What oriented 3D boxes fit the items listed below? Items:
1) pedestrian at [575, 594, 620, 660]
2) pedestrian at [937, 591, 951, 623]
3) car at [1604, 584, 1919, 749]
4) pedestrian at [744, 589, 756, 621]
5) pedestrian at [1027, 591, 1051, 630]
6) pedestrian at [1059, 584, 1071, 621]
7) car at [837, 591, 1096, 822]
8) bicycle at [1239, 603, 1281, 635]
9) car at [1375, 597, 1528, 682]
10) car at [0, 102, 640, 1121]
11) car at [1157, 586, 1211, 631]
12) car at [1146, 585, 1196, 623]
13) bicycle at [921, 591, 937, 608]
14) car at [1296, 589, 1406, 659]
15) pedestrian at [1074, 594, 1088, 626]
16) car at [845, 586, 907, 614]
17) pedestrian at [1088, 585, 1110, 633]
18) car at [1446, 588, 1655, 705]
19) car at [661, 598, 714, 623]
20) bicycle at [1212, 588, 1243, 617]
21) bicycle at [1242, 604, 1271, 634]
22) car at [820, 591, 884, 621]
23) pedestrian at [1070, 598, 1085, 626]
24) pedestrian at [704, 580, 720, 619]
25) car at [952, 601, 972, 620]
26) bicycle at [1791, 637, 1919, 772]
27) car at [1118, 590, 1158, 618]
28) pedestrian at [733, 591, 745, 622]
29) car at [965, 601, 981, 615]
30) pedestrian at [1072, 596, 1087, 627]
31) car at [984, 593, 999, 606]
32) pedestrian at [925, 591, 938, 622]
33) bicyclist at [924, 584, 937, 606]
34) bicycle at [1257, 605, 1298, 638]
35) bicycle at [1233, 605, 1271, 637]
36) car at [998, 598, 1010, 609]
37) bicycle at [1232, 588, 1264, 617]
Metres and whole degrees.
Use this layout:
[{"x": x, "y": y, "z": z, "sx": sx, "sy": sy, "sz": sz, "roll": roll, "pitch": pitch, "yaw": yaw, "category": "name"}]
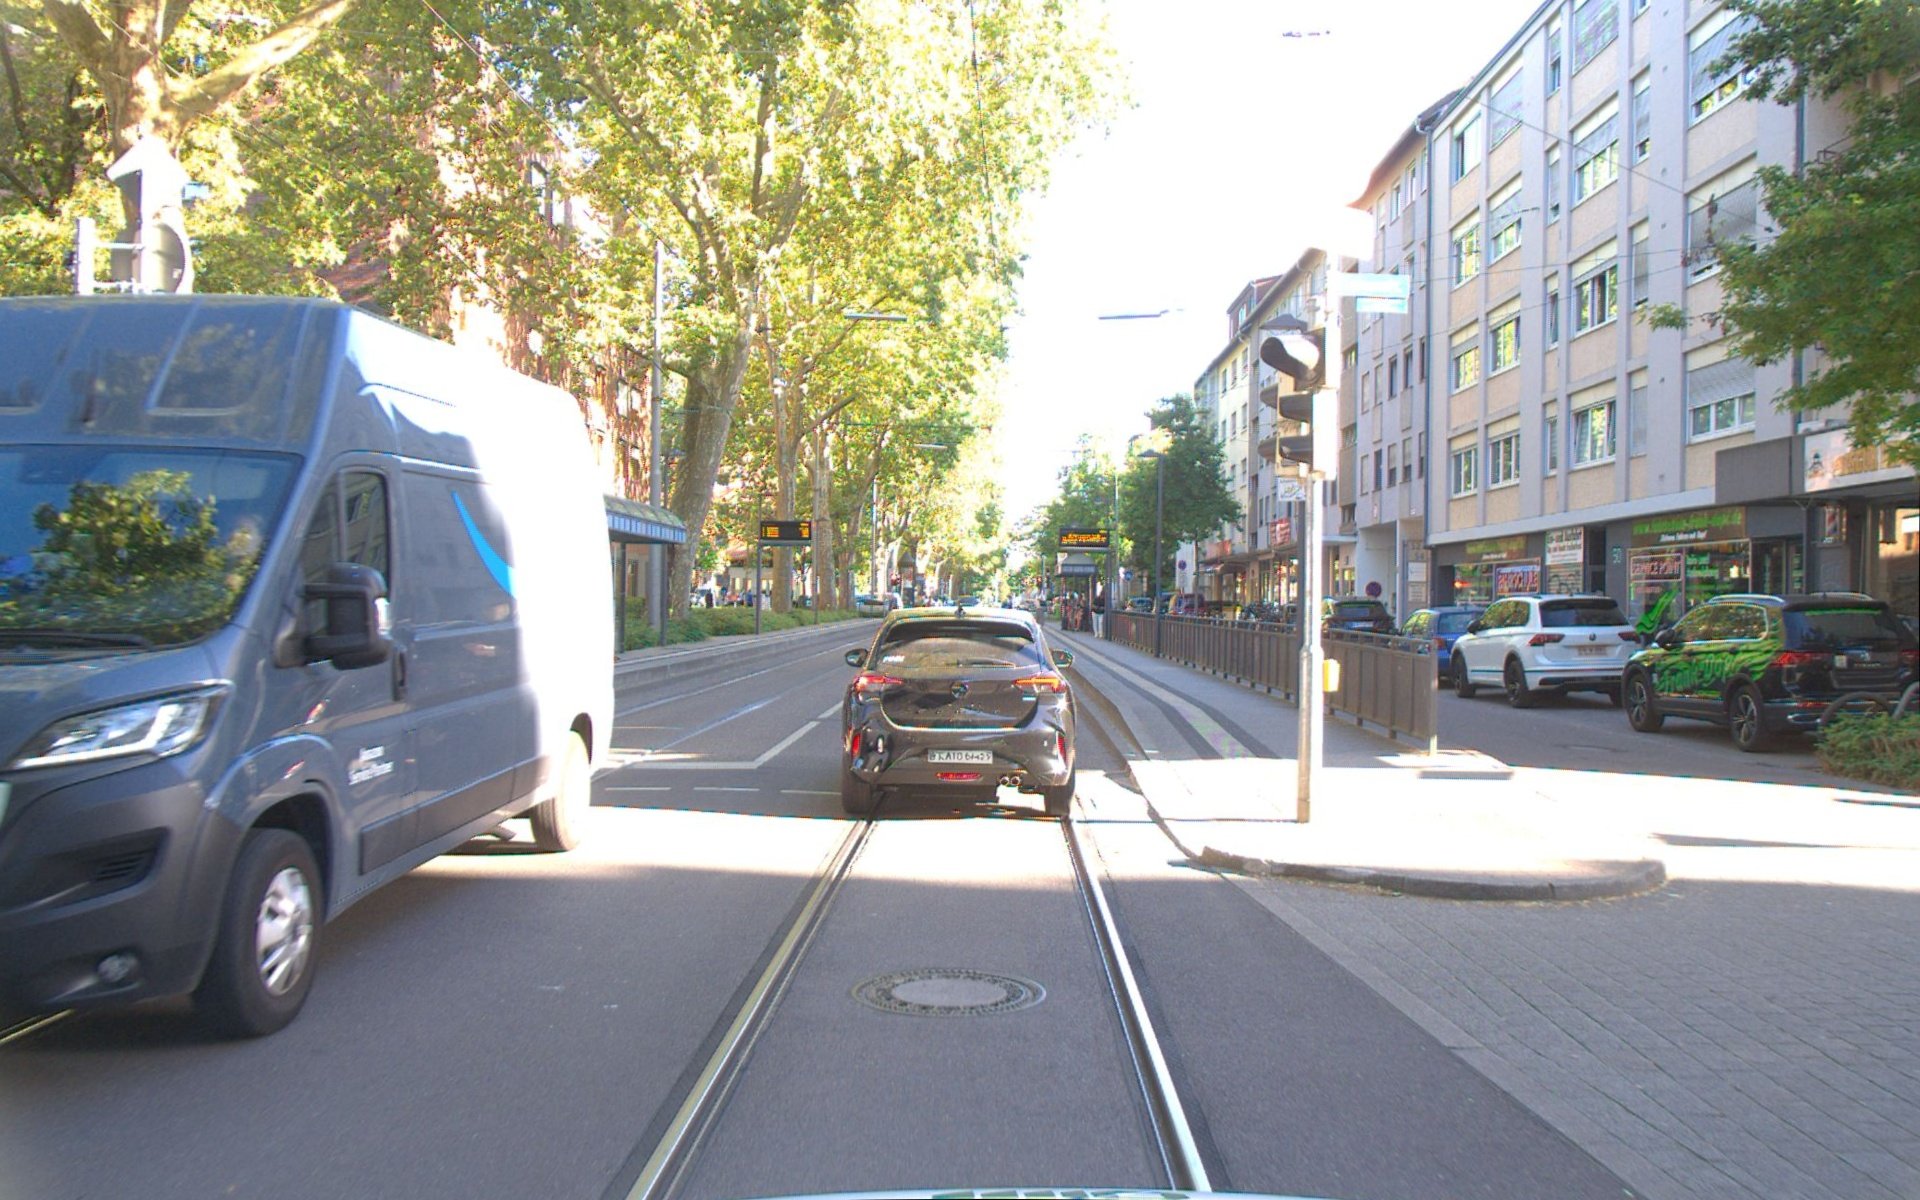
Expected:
[{"x": -6.571, "y": 0.488, "z": 30.013, "sx": 0.691, "sy": 1.189, "sz": 0.659, "roll": 0, "pitch": -1, "yaw": -2, "category": "pedestrian"}, {"x": -1.066, "y": 0.472, "z": 109.923, "sx": 0.661, "sy": 2.048, "sz": 0.702, "roll": 3, "pitch": 0, "yaw": 13, "category": "pedestrian"}, {"x": 9.167, "y": 0.685, "z": 18.904, "sx": 1.952, "sy": 1.644, "sz": 4.445, "roll": -1, "pitch": 0, "yaw": 1, "category": "car"}, {"x": -13.613, "y": 0.324, "z": 107.422, "sx": 0.658, "sy": 1.984, "sz": 0.498, "roll": 2, "pitch": 0, "yaw": -2, "category": "pedestrian"}, {"x": 3.581, "y": 0.488, "z": 74.724, "sx": 0.737, "sy": 1.739, "sz": 0.760, "roll": 1, "pitch": -1, "yaw": 36, "category": "pedestrian"}, {"x": 5.002, "y": 0.141, "z": 78.991, "sx": 0.520, "sy": 1.739, "sz": 0.752, "roll": 1, "pitch": -1, "yaw": 3, "category": "pedestrian"}, {"x": 0.018, "y": 0.722, "z": 12.865, "sx": 1.724, "sy": 1.534, "sz": 3.682, "roll": 0, "pitch": 0, "yaw": -1, "category": "car"}, {"x": 11.414, "y": 0.712, "z": 63.109, "sx": 0.600, "sy": 1.156, "sz": 2.915, "roll": 2, "pitch": 0, "yaw": -10, "category": "bicycle"}, {"x": 9.264, "y": 0.714, "z": 31.490, "sx": 1.708, "sy": 1.465, "sz": 4.247, "roll": 2, "pitch": 0, "yaw": 1, "category": "car"}, {"x": -3.152, "y": 0.050, "z": 7.589, "sx": 2.070, "sy": 2.786, "sz": 6.115, "roll": 0, "pitch": 0, "yaw": 1, "category": "car"}, {"x": 10.285, "y": 0.383, "z": 76.260, "sx": 1.952, "sy": 1.986, "sz": 4.000, "roll": 2, "pitch": 0, "yaw": 0, "category": "car"}, {"x": 10.530, "y": 0.207, "z": 82.835, "sx": 1.952, "sy": 1.829, "sz": 4.000, "roll": 2, "pitch": 0, "yaw": 0, "category": "car"}, {"x": -2.476, "y": -0.042, "z": 132.267, "sx": 0.935, "sy": 1.262, "sz": 2.979, "roll": 1, "pitch": 0, "yaw": 4, "category": "bicycle"}, {"x": 9.833, "y": 0.586, "z": 41.886, "sx": 1.819, "sy": 1.644, "sz": 4.398, "roll": 2, "pitch": 0, "yaw": 1, "category": "car"}, {"x": 5.005, "y": 0.409, "z": 68.170, "sx": 0.492, "sy": 1.327, "sz": 0.428, "roll": 1, "pitch": -1, "yaw": -3, "category": "pedestrian"}, {"x": -5.973, "y": 0.013, "z": 117.824, "sx": 4.300, "sy": 1.884, "sz": 1.997, "roll": 2, "pitch": 0, "yaw": -6, "category": "car"}, {"x": 4.683, "y": 0.296, "z": 55.918, "sx": 0.618, "sy": 1.603, "sz": 0.871, "roll": 3, "pitch": 0, "yaw": 1, "category": "pedestrian"}, {"x": 9.116, "y": 0.676, "z": 25.919, "sx": 1.762, "sy": 1.634, "sz": 4.415, "roll": 2, "pitch": 0, "yaw": 1, "category": "car"}, {"x": -23.512, "y": 0.897, "z": 142.786, "sx": 4.162, "sy": 2.049, "sz": 2.000, "roll": 2, "pitch": 0, "yaw": 1, "category": "car"}, {"x": 11.121, "y": 0.096, "z": 68.861, "sx": 0.586, "sy": 1.156, "sz": 2.199, "roll": 2, "pitch": 0, "yaw": -10, "category": "bicycle"}, {"x": 11.677, "y": 0.727, "z": 65.225, "sx": 0.402, "sy": 1.156, "sz": 2.199, "roll": 2, "pitch": 0, "yaw": -10, "category": "bicycle"}, {"x": -6.912, "y": 0.387, "z": 105.587, "sx": 4.035, "sy": 1.730, "sz": 1.881, "roll": 2, "pitch": 0, "yaw": -6, "category": "car"}, {"x": 4.804, "y": 0.477, "z": 67.445, "sx": 0.523, "sy": 1.119, "sz": 0.550, "roll": 2, "pitch": -1, "yaw": -3, "category": "pedestrian"}, {"x": -13.012, "y": -0.024, "z": 86.822, "sx": 0.658, "sy": 1.984, "sz": 0.498, "roll": 1, "pitch": -1, "yaw": 7, "category": "pedestrian"}, {"x": 0.163, "y": 0.912, "z": 142.550, "sx": 1.710, "sy": 1.571, "sz": 3.999, "roll": 2, "pitch": 0, "yaw": 0, "category": "car"}, {"x": 9.021, "y": 0.985, "z": 15.491, "sx": 2.081, "sy": 1.208, "sz": 0.681, "roll": 1, "pitch": -1, "yaw": 9, "category": "bicycle"}, {"x": 10.207, "y": 0.256, "z": 95.163, "sx": 1.952, "sy": 1.512, "sz": 4.000, "roll": 2, "pitch": 0, "yaw": 1, "category": "car"}, {"x": -14.473, "y": 0.439, "z": 108.249, "sx": 0.658, "sy": 1.984, "sz": 0.498, "roll": 2, "pitch": 0, "yaw": -2, "category": "pedestrian"}, {"x": 1.486, "y": 0.886, "z": 186.962, "sx": 1.710, "sy": 1.571, "sz": 3.999, "roll": 2, "pitch": 0, "yaw": 0, "category": "car"}, {"x": 4.834, "y": 0.465, "z": 66.771, "sx": 0.523, "sy": 1.252, "sz": 0.510, "roll": 2, "pitch": -1, "yaw": -3, "category": "pedestrian"}, {"x": 4.044, "y": -0.088, "z": 212.771, "sx": 1.710, "sy": 1.571, "sz": 3.999, "roll": 2, "pitch": 0, "yaw": 0, "category": "car"}, {"x": -1.887, "y": 0.446, "z": 110.100, "sx": 0.661, "sy": 2.048, "sz": 0.702, "roll": 3, "pitch": 0, "yaw": 7, "category": "pedestrian"}, {"x": -2.400, "y": -0.430, "z": 133.180, "sx": 0.921, "sy": 1.732, "sz": 1.153, "roll": 1, "pitch": -1, "yaw": 4, "category": "bicyclist"}, {"x": 11.439, "y": 0.776, "z": 59.675, "sx": 0.610, "sy": 1.156, "sz": 2.433, "roll": 2, "pitch": 0, "yaw": -10, "category": "bicycle"}, {"x": 10.952, "y": 0.771, "z": 62.150, "sx": 0.591, "sy": 1.156, "sz": 2.429, "roll": 2, "pitch": 0, "yaw": -10, "category": "bicycle"}, {"x": 6.545, "y": 0.502, "z": 246.729, "sx": 1.710, "sy": 1.571, "sz": 3.999, "roll": 2, "pitch": 0, "yaw": 0, "category": "car"}, {"x": 11.794, "y": 0.109, "z": 67.837, "sx": 0.586, "sy": 1.156, "sz": 2.199, "roll": 2, "pitch": 0, "yaw": -10, "category": "bicycle"}]
